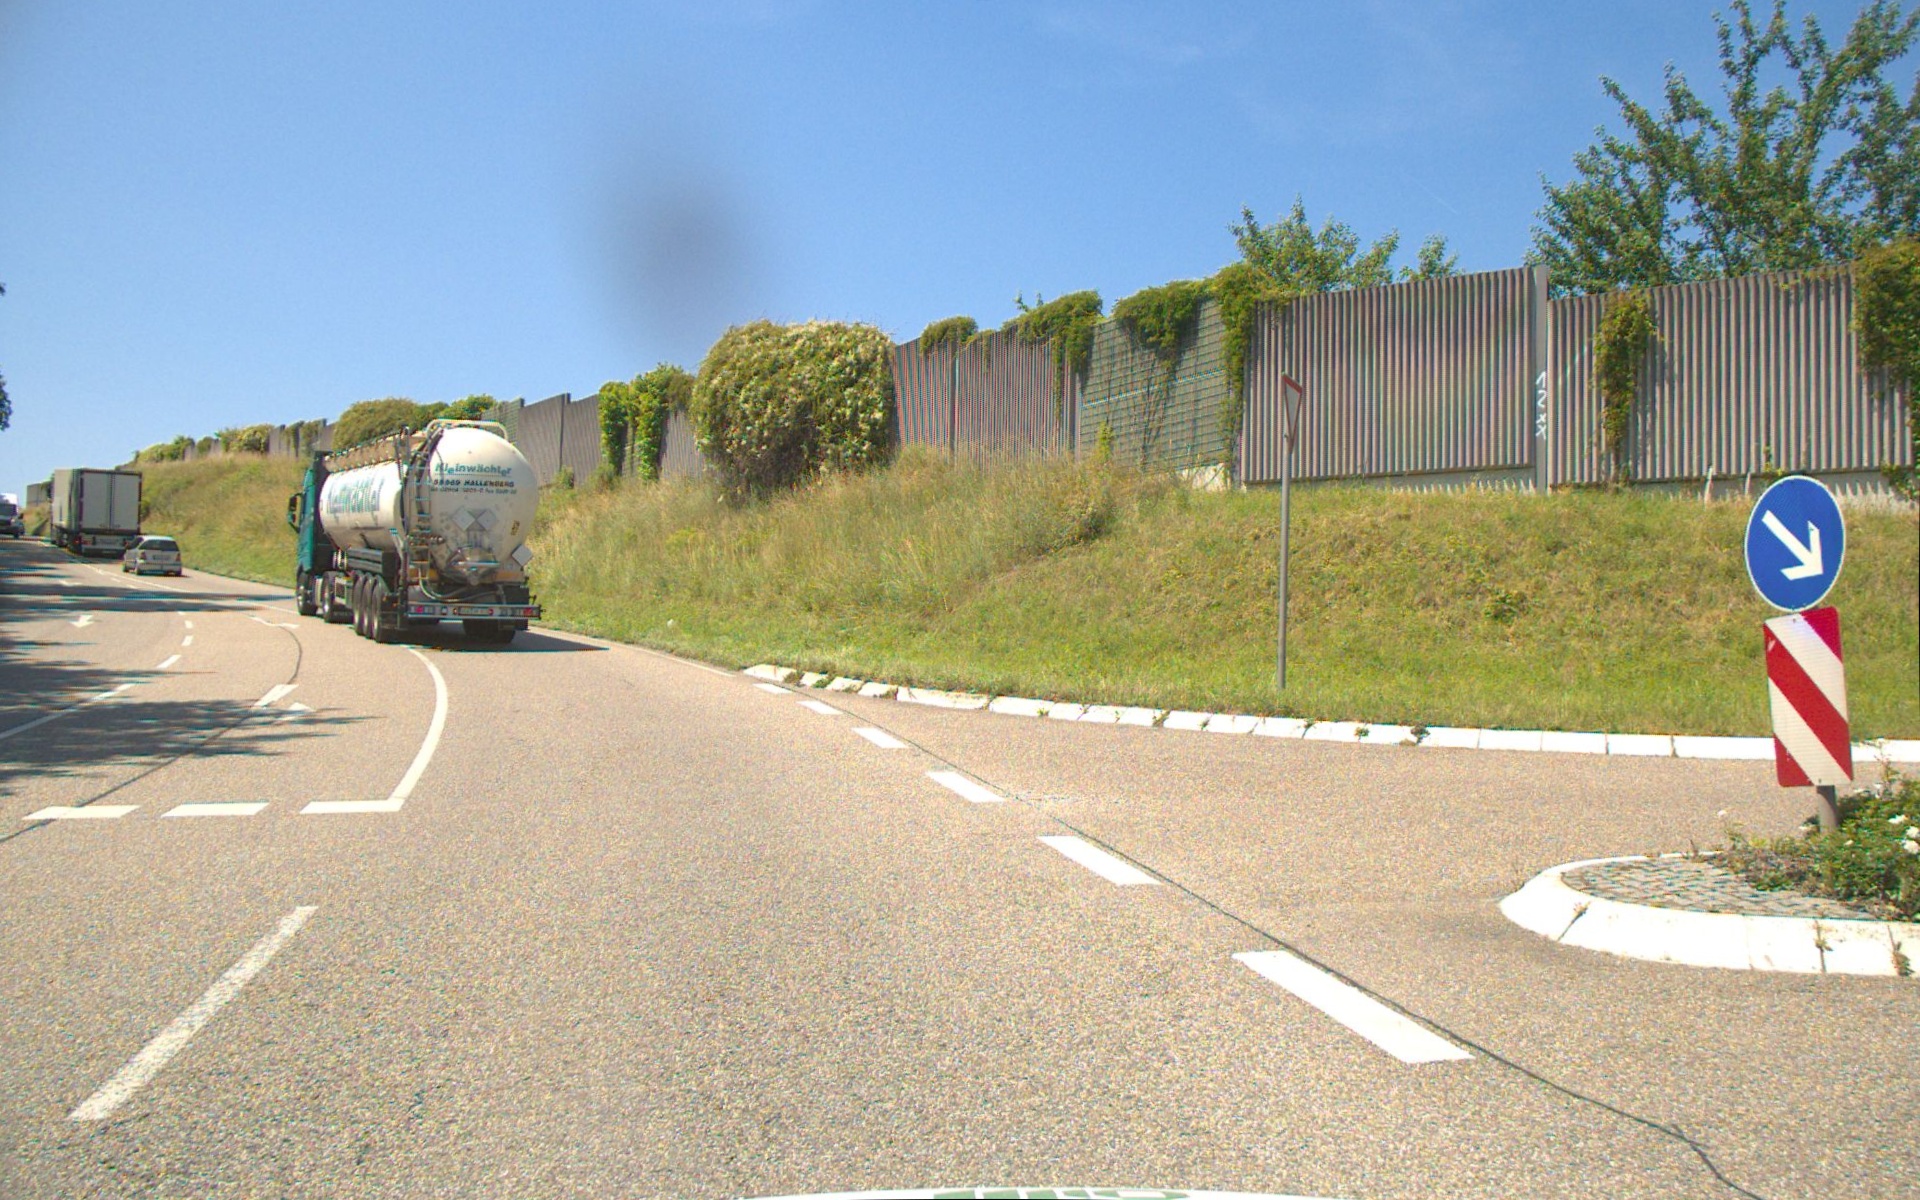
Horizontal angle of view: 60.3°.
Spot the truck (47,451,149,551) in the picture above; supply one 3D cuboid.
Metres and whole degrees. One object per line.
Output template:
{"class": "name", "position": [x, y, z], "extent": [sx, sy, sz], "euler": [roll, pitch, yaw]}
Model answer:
{"class": "truck", "position": [-42.941, -4.988, 82.167], "extent": [3.161, 4.383, 11.670], "euler": [4, 1, -33]}

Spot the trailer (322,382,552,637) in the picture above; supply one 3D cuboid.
{"class": "trailer", "position": [-10.919, -1.730, 33.506], "extent": [2.629, 4.261, 11.803], "euler": [0, 2, -27]}

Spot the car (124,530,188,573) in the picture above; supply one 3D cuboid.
{"class": "car", "position": [-32.261, -1.963, 66.293], "extent": [1.635, 1.535, 3.593], "euler": [4, 0, -36]}

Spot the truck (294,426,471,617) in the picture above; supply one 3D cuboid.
{"class": "truck", "position": [-13.555, -1.798, 38.435], "extent": [2.698, 3.997, 7.194], "euler": [-1, 2, -29]}

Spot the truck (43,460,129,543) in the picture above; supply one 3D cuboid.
{"class": "truck", "position": [-46.093, -5.164, 87.083], "extent": [3.161, 4.001, 8.159], "euler": [2, 1, -33]}

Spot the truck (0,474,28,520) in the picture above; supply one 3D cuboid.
{"class": "truck", "position": [-60.443, -6.568, 104.928], "extent": [2.032, 2.733, 5.921], "euler": [3, 2, -31]}
